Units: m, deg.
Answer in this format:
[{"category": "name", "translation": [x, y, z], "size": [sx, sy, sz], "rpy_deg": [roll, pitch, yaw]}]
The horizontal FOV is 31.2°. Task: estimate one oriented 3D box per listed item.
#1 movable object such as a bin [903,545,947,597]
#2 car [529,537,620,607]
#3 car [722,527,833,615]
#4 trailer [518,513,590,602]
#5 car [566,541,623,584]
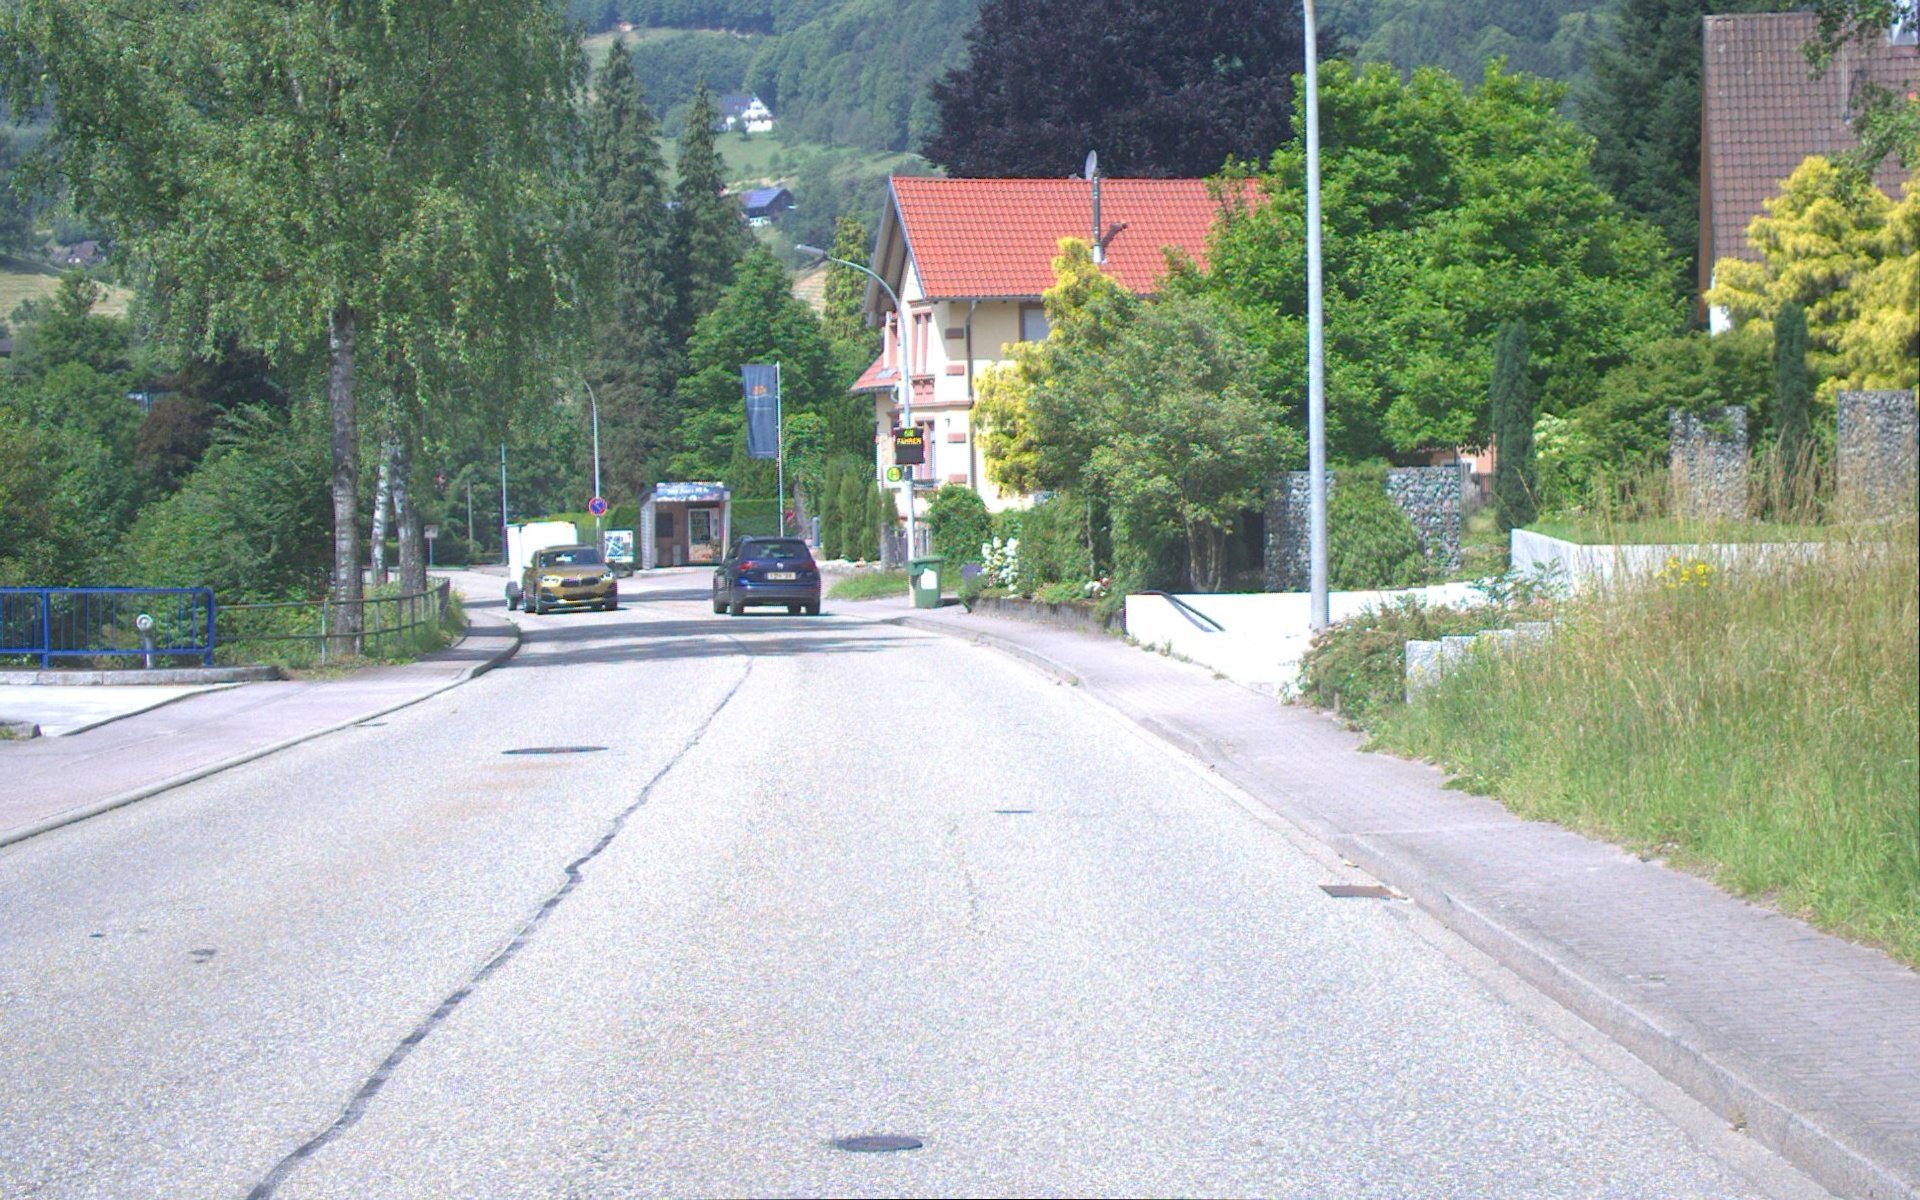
[{"category": "movable object such as a bin", "translation": [-0.720, -0.592, 70.799], "size": [0.809, 1.039, 0.579], "rpy_deg": [-2, 2, -9]}, {"category": "car", "translation": [-8.772, -0.664, 78.510], "size": [1.813, 1.495, 4.150], "rpy_deg": [-2, 1, -4]}, {"category": "car", "translation": [-3.796, -0.615, 70.892], "size": [1.919, 1.692, 3.789], "rpy_deg": [-2, 1, -8]}, {"category": "trailer", "translation": [-9.829, -1.041, 83.414], "size": [1.466, 2.070, 3.671], "rpy_deg": [-2, 1, -4]}, {"category": "car", "translation": [-10.949, -1.119, 102.991], "size": [1.477, 1.205, 2.384], "rpy_deg": [-2, 1, -1]}]
